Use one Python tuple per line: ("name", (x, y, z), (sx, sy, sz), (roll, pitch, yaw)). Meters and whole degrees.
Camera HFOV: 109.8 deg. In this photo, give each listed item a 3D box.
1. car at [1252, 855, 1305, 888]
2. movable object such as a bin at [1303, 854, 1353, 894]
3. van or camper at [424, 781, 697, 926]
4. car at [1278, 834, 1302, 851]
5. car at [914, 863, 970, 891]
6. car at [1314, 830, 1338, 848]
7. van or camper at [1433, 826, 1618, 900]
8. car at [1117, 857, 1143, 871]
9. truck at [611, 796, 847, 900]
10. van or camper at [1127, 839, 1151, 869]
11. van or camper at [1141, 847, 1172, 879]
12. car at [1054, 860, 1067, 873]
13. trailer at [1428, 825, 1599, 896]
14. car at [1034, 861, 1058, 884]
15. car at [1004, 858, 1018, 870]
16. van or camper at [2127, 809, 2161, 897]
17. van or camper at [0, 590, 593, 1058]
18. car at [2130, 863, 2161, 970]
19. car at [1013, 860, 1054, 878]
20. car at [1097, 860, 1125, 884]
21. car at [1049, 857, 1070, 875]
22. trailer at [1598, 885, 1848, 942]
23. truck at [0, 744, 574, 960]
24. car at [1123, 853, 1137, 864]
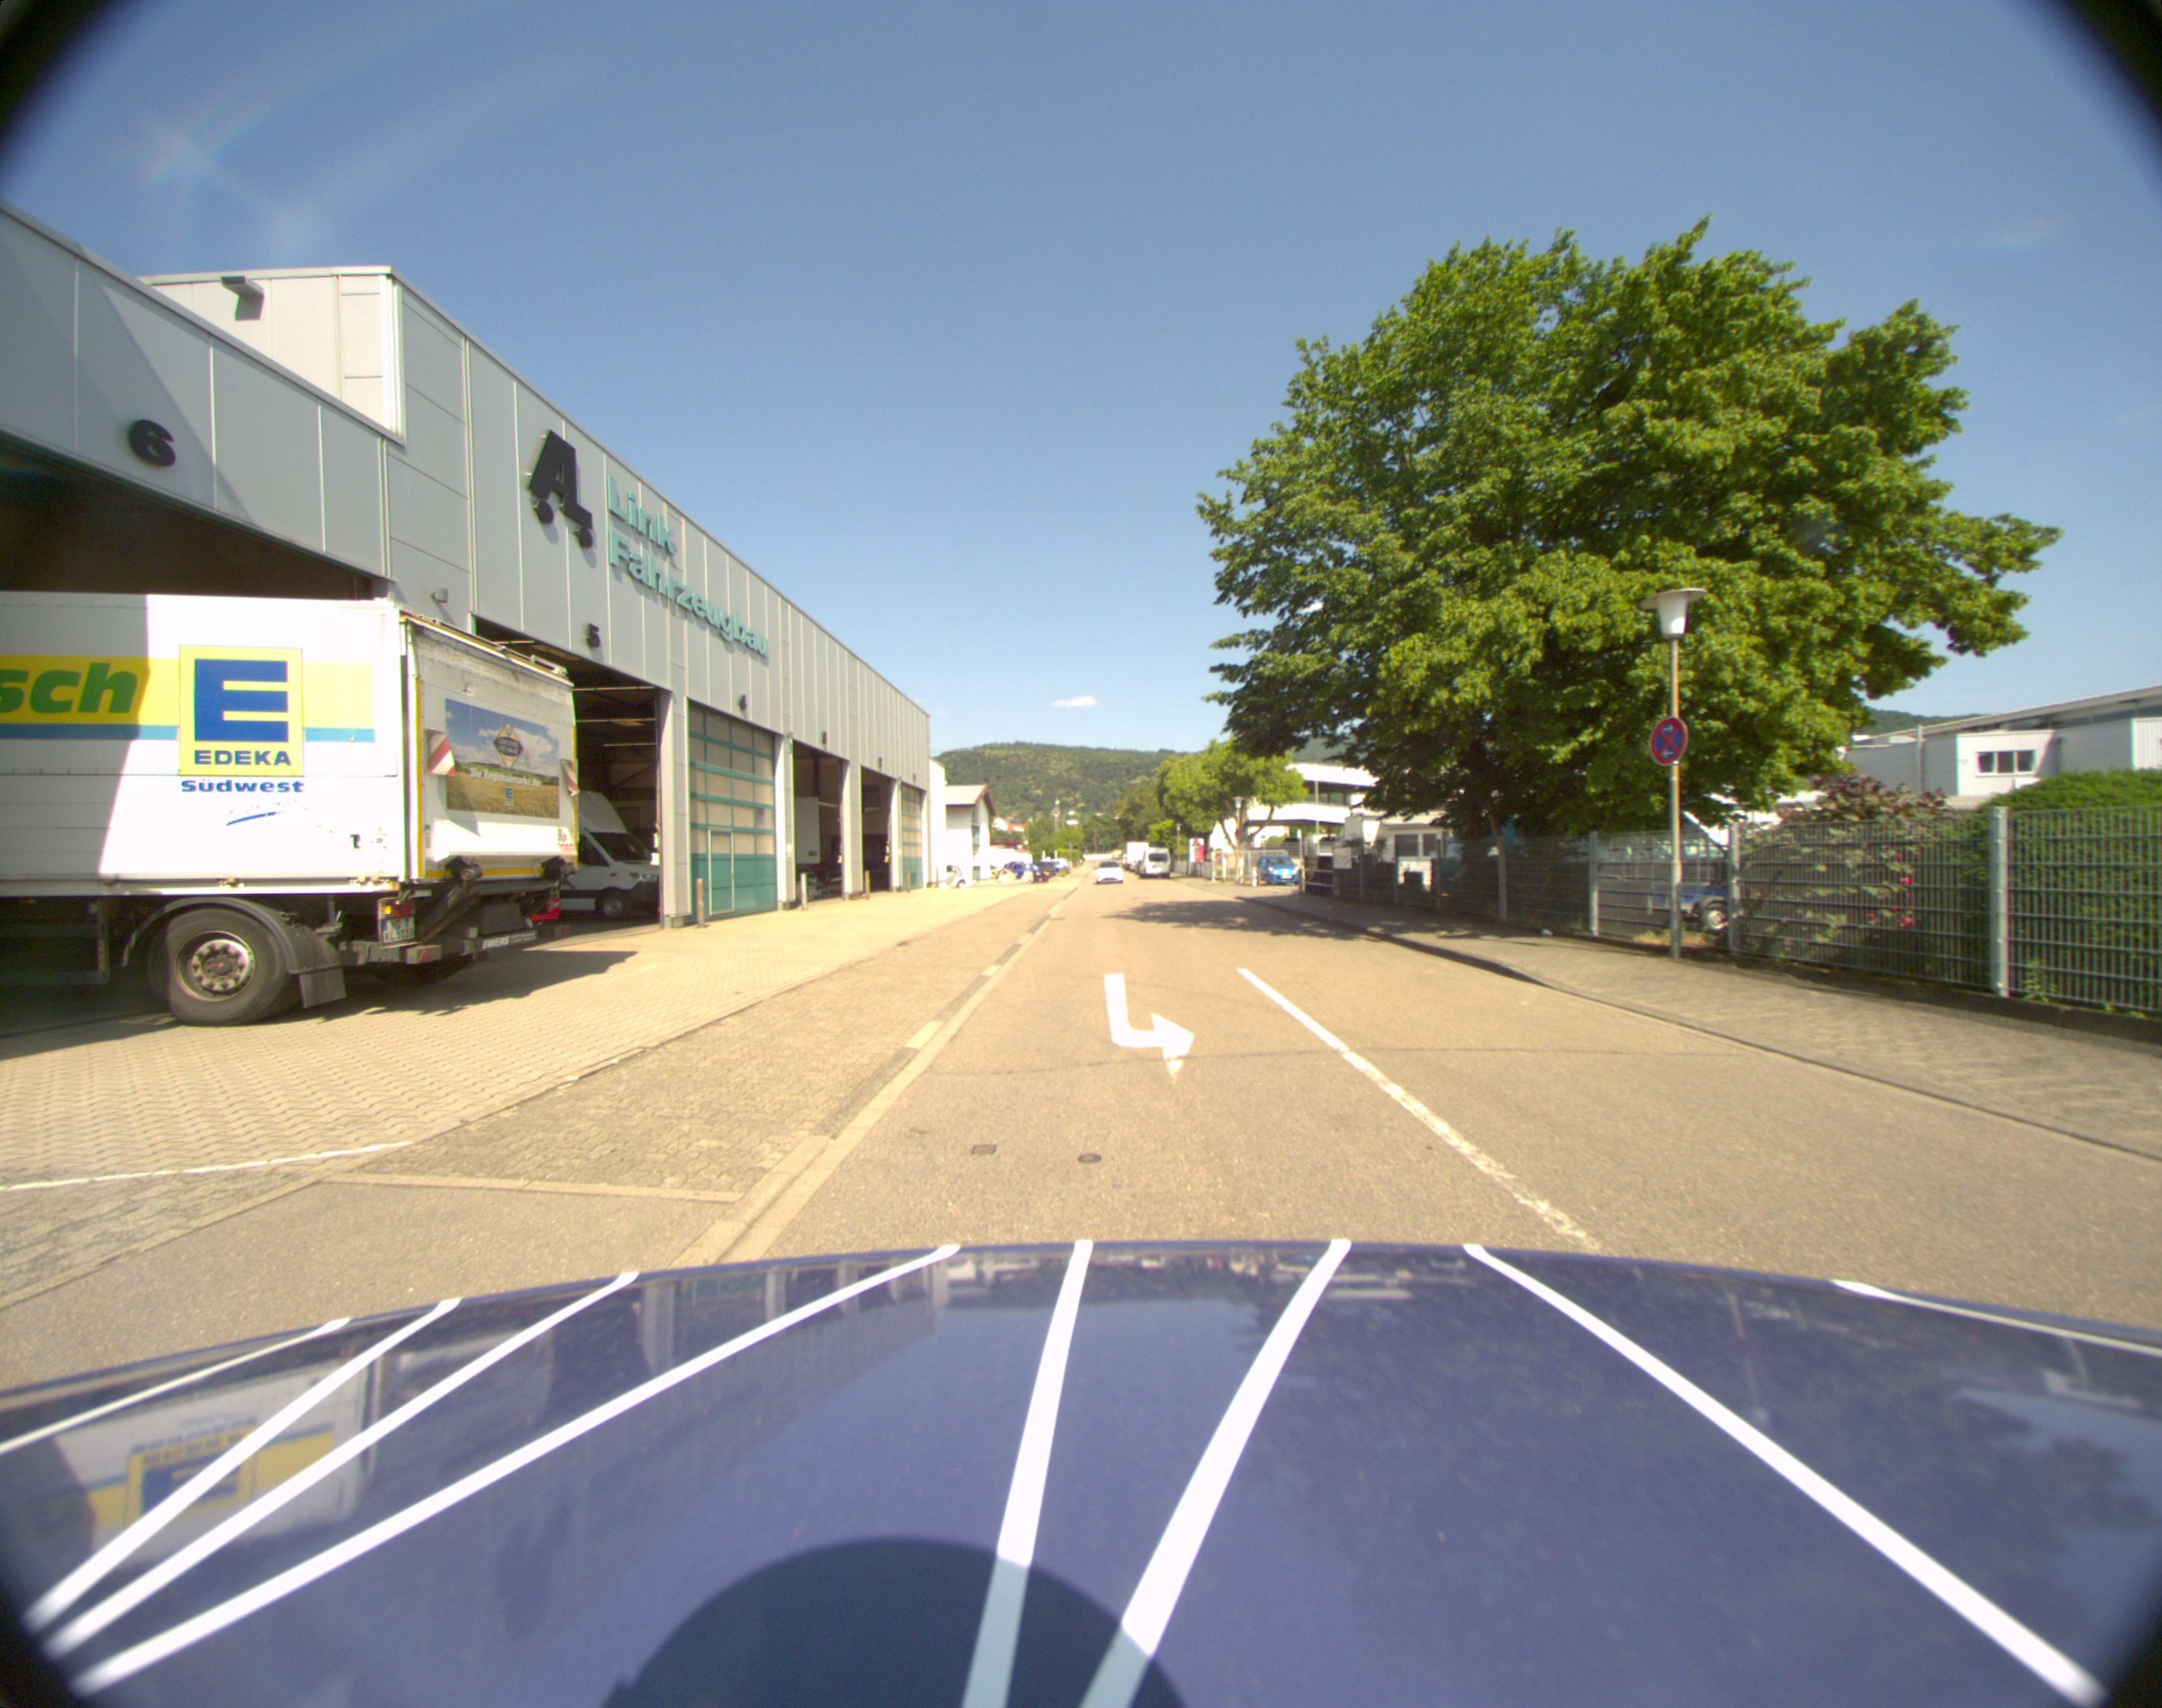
("car", (9.694, 0.841, 37.488), (1.644, 1.449, 3.525), (-3, 1, 0))
("movable object such as a bin", (9.332, 0.738, 28.786), (1.383, 1.350, 2.104), (-3, 1, 7))
("van or camper", (-12.344, -0.011, 18.294), (5.055, 3.187, 2.000), (-1, 1, 0))
("car", (18.870, -0.998, 68.504), (1.705, 1.449, 3.531), (-1, 0, 23))
("car", (-7.878, 1.295, 43.077), (1.309, 1.524, 2.829), (-3, -2, 45))
("car", (22.162, -1.357, 68.711), (1.705, 1.449, 3.530), (-3, 1, 23))
("van or camper", (12.694, 0.246, 21.892), (4.192, 1.853, 1.774), (-3, 1, 4))
("car", (5.366, 1.069, 83.900), (1.710, 1.449, 3.520), (-1, 0, -17))
("truck", (-13.352, -0.208, 29.227), (7.853, 3.759, 2.625), (0, 0, 2))
("van or camper", (6.812, -0.003, 89.897), (2.525, 3.350, 5.592), (-1, 0, 1))
("van or camper", (5.894, 0.648, 59.490), (2.028, 2.363, 4.685), (0, 1, 1))
("car", (-2.391, 1.448, 89.495), (1.452, 1.371, 3.186), (-3, 1, -1))
("trailer", (15.058, 0.225, 26.658), (4.781, 2.143, 2.000), (-3, 1, 2))
("car", (-2.245, 1.162, 49.401), (1.452, 1.371, 3.186), (-1, 0, -1))
("car", (-8.293, 1.184, 90.169), (1.452, 1.371, 3.186), (-3, 1, -1))
("van or camper", (30.291, -0.067, 19.225), (4.596, 2.292, 1.782), (-1, 1, 8))
("van or camper", (-11.491, -0.194, 7.092), (11.634, 3.671, 2.780), (-1, 0, -5))
("car", (16.409, 0.853, 9.896), (3.077, 1.464, 1.653), (-1, 0, 4))
("car", (-3.649, 1.120, 58.548), (2.975, 1.332, 1.453), (-1, 0, 2))
("car", (1.990, 1.183, 50.906), (1.736, 1.521, 4.110), (-1, 0, 2))
("car", (-1.958, 1.068, 69.561), (1.453, 1.487, 3.184), (-3, 1, -9))
("trailer", (11.935, 1.093, 14.309), (3.289, 0.934, 1.613), (-1, 0, 4))
("truck", (-13.696, -0.001, 13.376), (7.968, 3.384, 2.480), (0, 1, 3))
("car", (7.275, 0.691, 113.624), (1.708, 1.564, 3.524), (-3, 1, -1))
